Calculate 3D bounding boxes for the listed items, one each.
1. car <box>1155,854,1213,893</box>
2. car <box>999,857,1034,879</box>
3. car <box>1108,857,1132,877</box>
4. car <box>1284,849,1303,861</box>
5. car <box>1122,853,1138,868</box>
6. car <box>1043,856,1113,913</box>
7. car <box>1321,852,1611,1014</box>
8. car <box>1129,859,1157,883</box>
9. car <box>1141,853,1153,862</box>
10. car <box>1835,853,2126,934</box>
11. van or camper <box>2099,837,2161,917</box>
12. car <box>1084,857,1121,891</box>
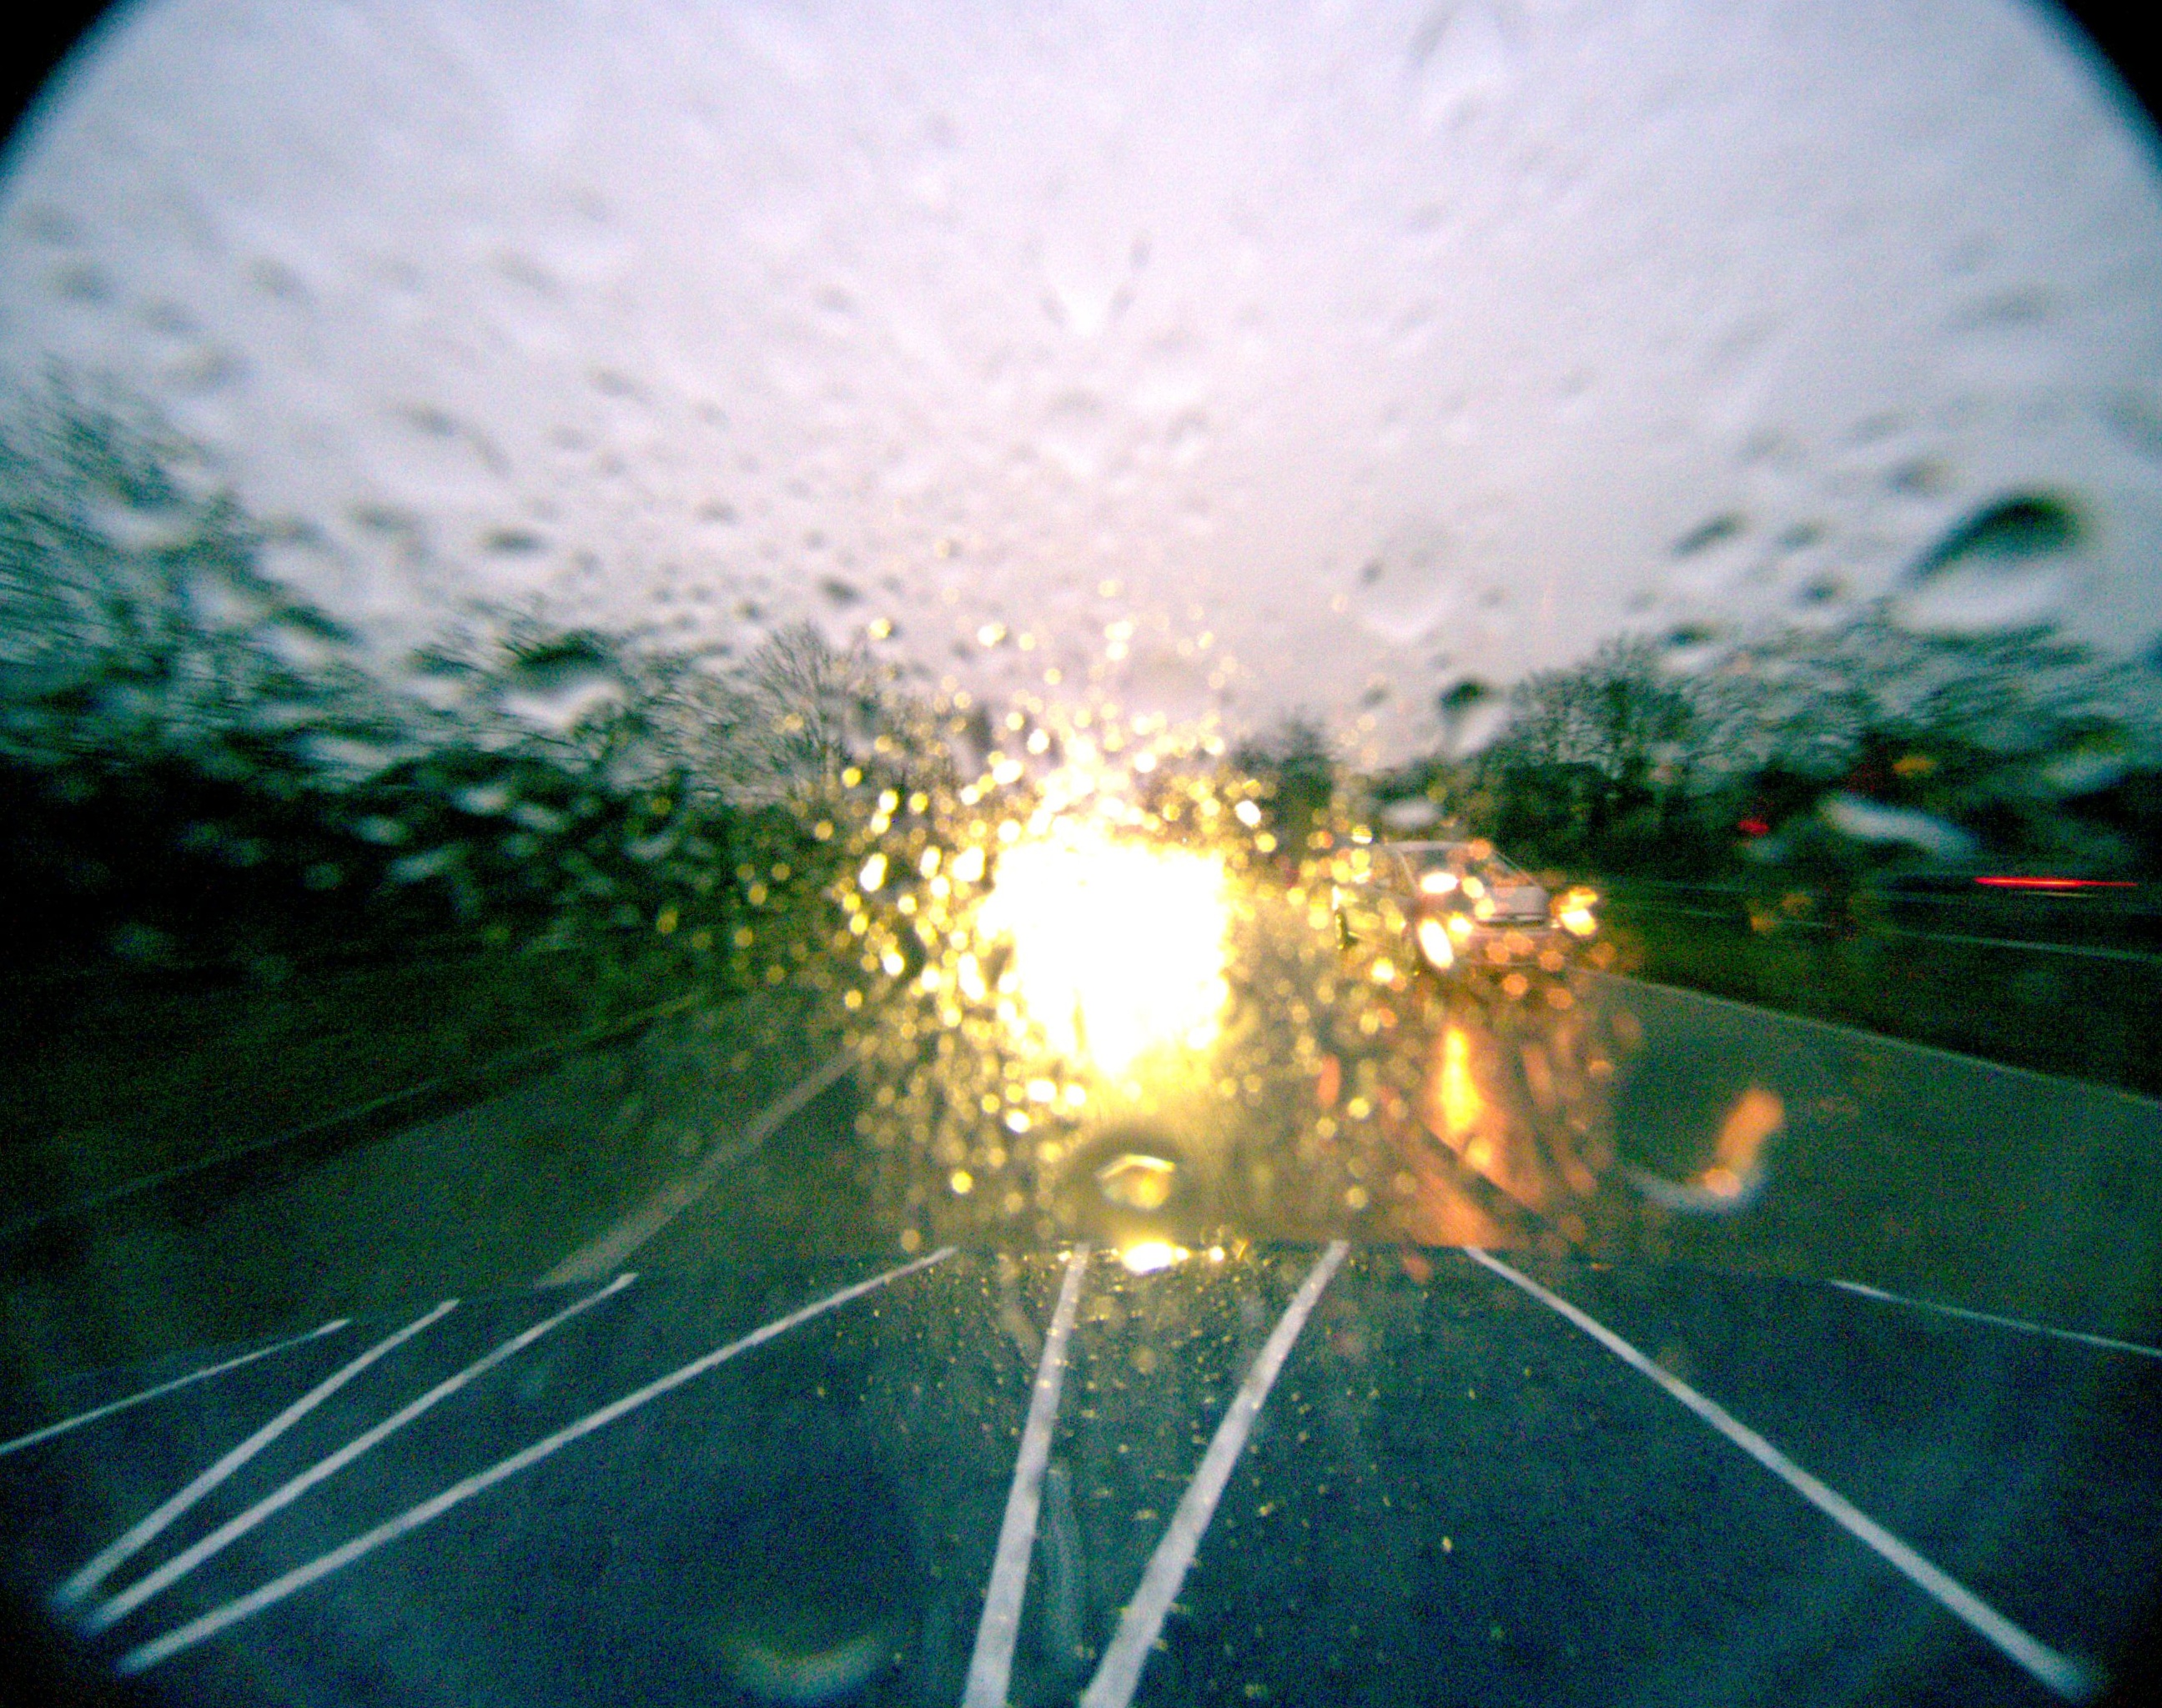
[{"bbox_3d":[4.403,0.782,33.115,2.026,1.521,4.145,-1,1,1],"label":"car"},{"bbox_3d":[-4.452,0.953,52.918,1.727,1.426,3.792,-1,1,5],"label":"car"},{"bbox_3d":[3.388,1.116,66.847,1.852,1.610,3.951,-2,1,0],"label":"car"},{"bbox_3d":[28.695,0.166,102.721,1.652,1.557,4.598,-1,1,4],"label":"car"},{"bbox_3d":[6.054,0.804,93.751,1.852,1.610,3.952,-2,1,3],"label":"car"},{"bbox_3d":[0.008,0.857,23.305,1.830,1.524,4.001,-1,1,4],"label":"car"},{"bbox_3d":[4.607,0.811,9.869,1.765,1.590,4.165,-1,1,2],"label":"car"},{"bbox_3d":[3.928,1.063,48.605,1.696,1.327,4.000,-2,1,3],"label":"car"},{"bbox_3d":[11.779,0.631,135.760,1.998,1.605,4.001,-1,0,3],"label":"car"},{"bbox_3d":[19.524,0.770,16.824,1.787,1.524,4.053,-1,1,4],"label":"car"},{"bbox_3d":[24.851,0.513,15.885,1.652,1.773,4.209,-1,1,4],"label":"van or camper"},{"bbox_3d":[1.180,1.002,39.646,1.728,1.573,3.791,-1,1,4],"label":"car"}]
